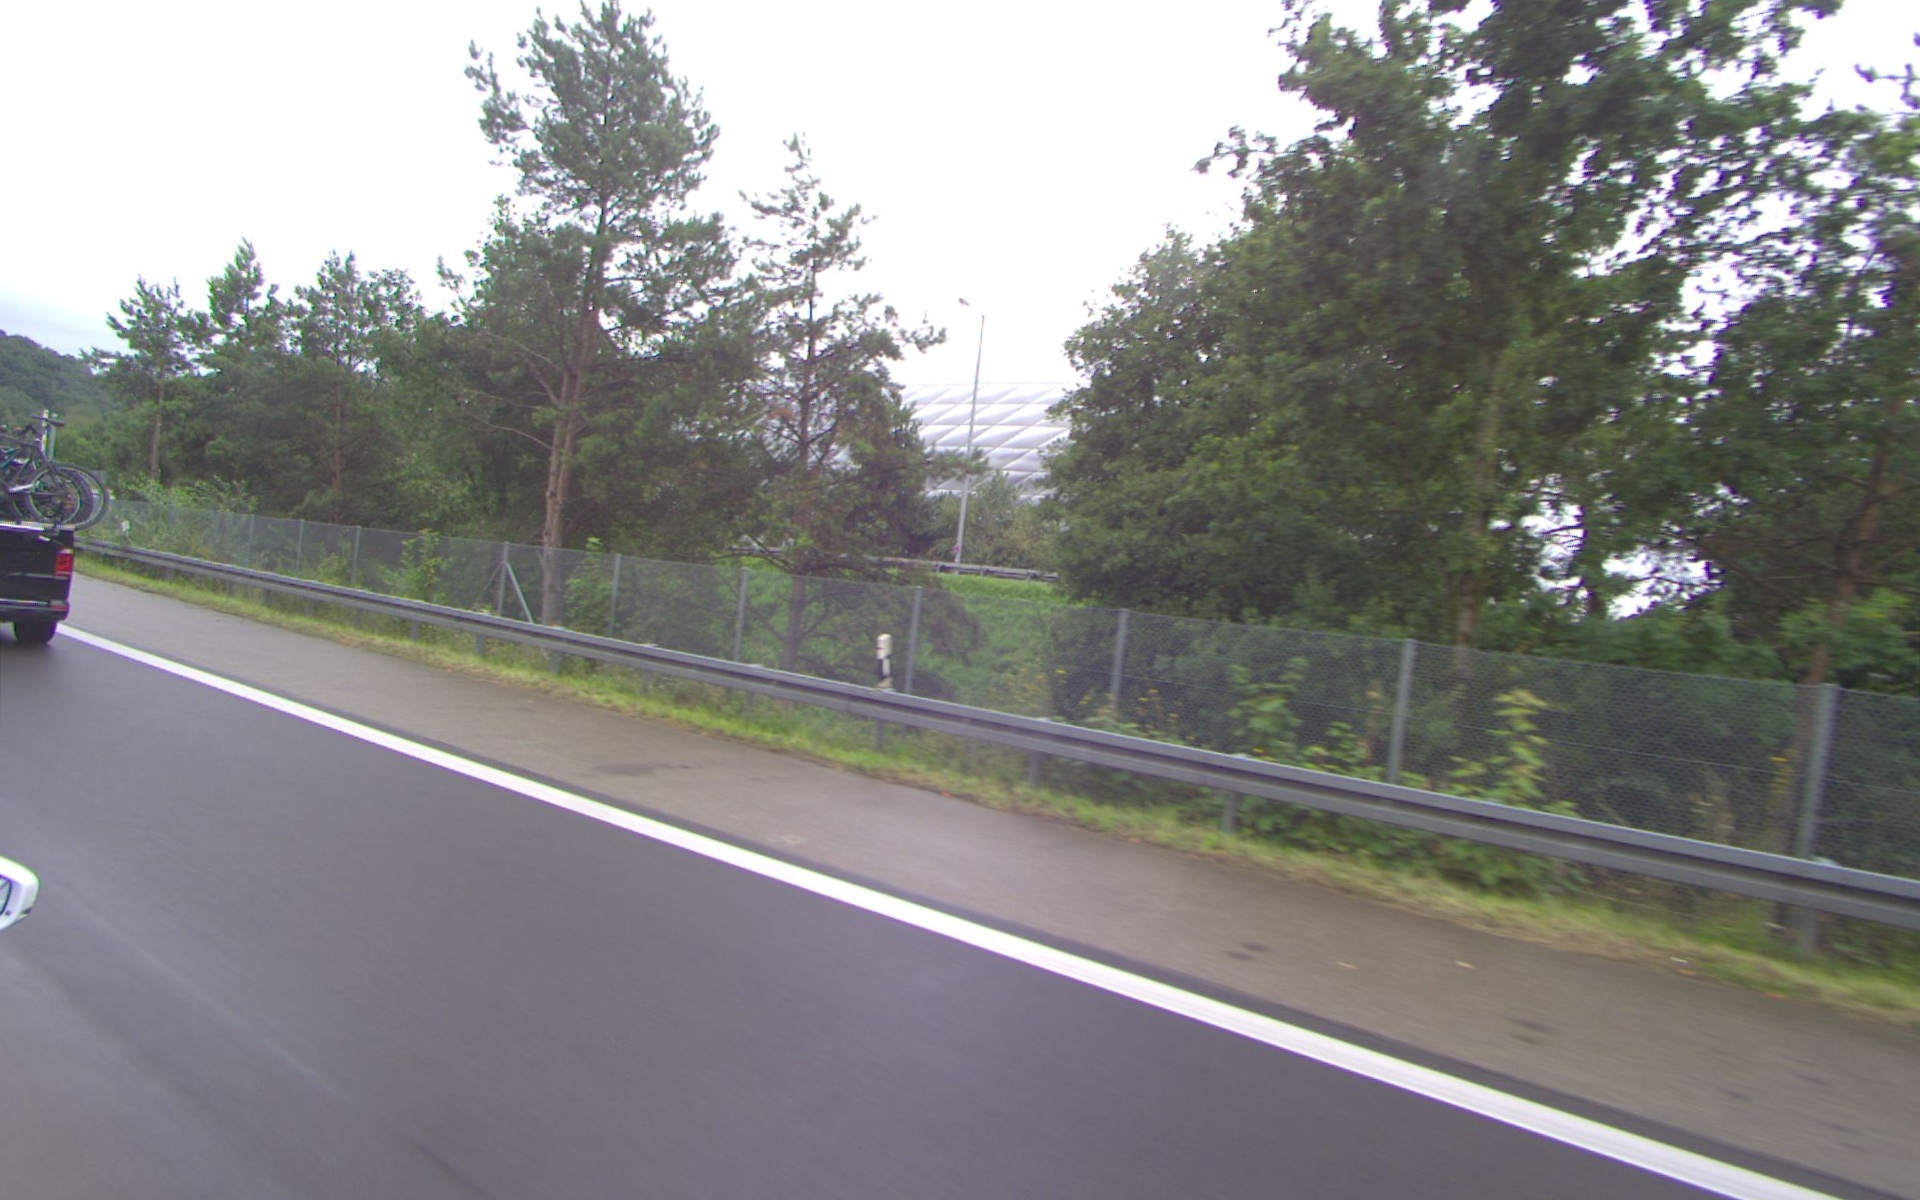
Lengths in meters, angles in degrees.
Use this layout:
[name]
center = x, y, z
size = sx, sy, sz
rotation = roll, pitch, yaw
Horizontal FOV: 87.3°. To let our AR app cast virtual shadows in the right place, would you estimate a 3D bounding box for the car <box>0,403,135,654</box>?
[car]
center = -11.472, -0.989, 10.995
size = 5.803, 2.290, 2.113
rotation = 7, -2, 35
